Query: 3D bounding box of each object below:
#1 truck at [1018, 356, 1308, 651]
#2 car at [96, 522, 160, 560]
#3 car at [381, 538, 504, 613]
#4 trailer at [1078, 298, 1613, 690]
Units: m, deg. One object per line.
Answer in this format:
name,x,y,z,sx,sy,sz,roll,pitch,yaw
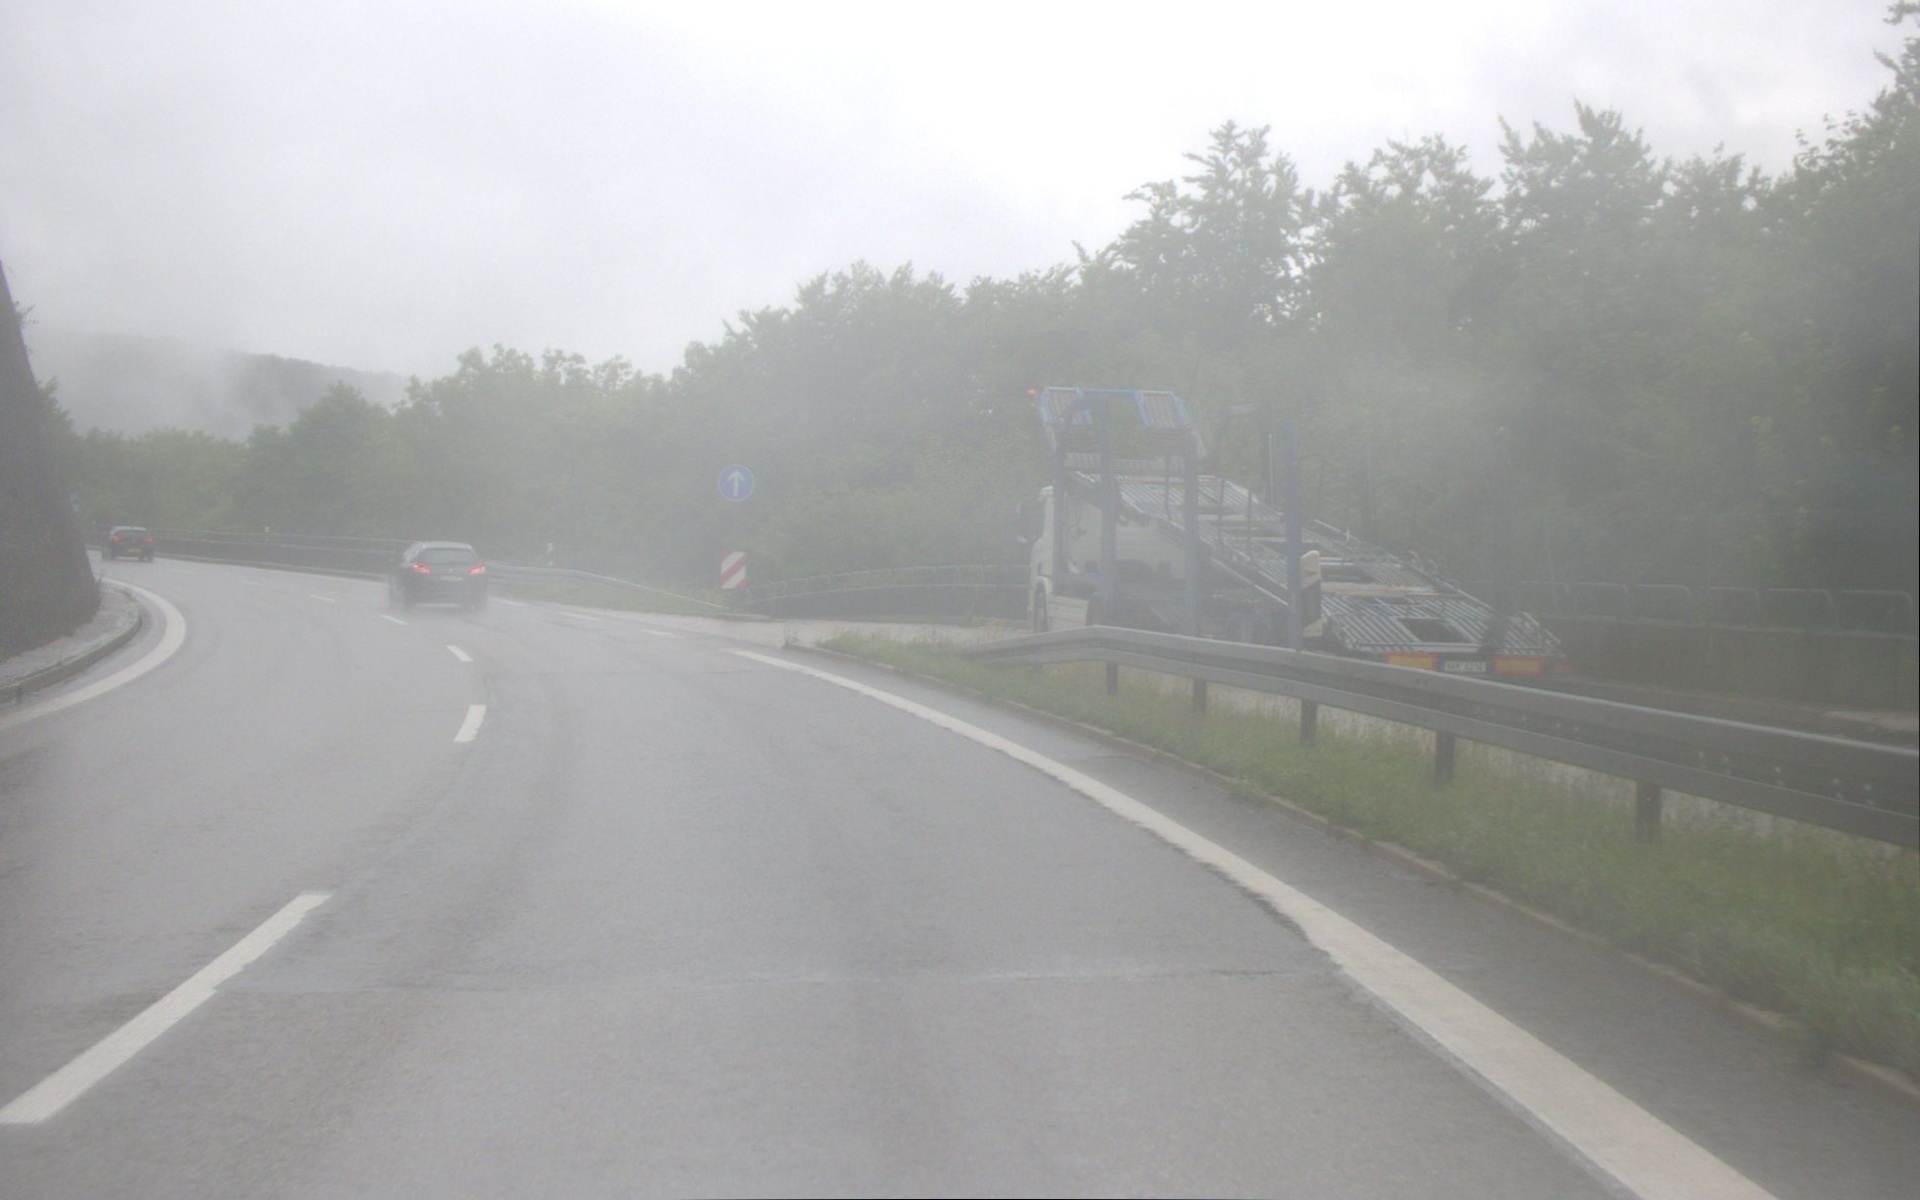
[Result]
truck,2.994,-1.426,52.953,2.895,4.230,6.883,0,1,-10
car,-35.277,-2.493,145.659,1.903,1.494,4.001,2,1,-24
car,-11.237,-0.544,74.453,1.903,1.494,4.001,2,1,-19
trailer,4.452,-1.239,44.564,2.891,4.230,14.701,0,1,-10
